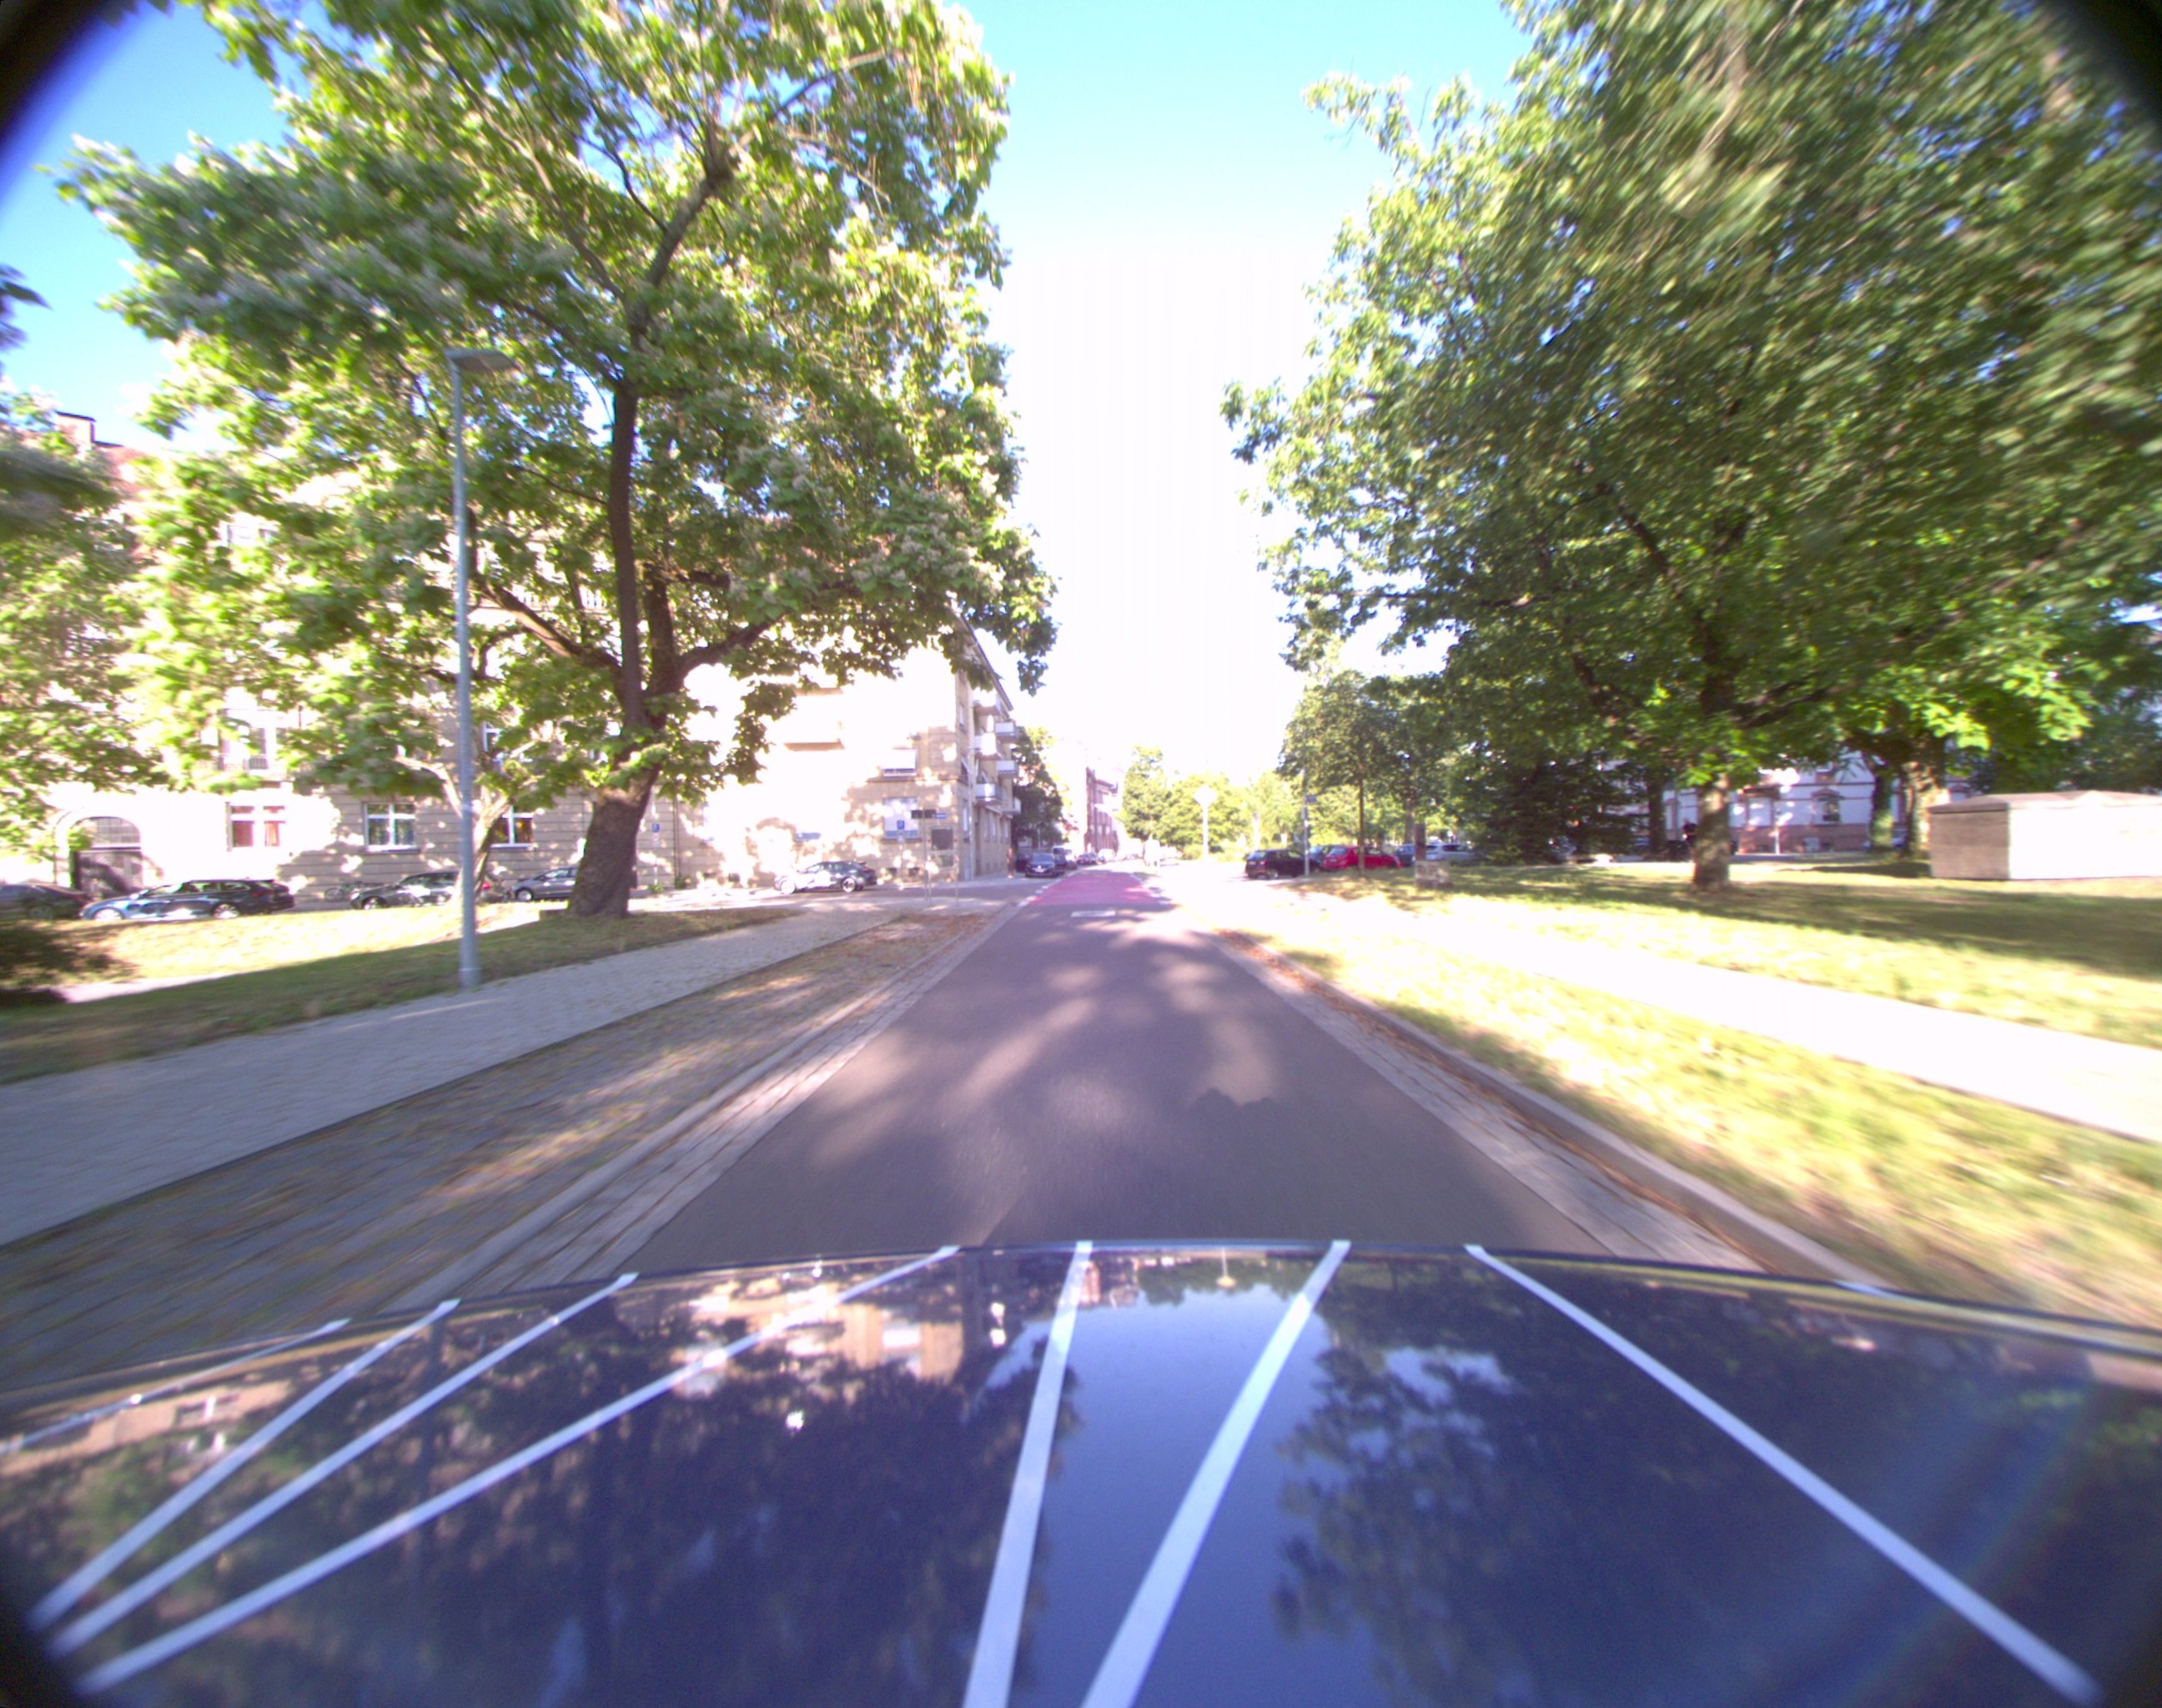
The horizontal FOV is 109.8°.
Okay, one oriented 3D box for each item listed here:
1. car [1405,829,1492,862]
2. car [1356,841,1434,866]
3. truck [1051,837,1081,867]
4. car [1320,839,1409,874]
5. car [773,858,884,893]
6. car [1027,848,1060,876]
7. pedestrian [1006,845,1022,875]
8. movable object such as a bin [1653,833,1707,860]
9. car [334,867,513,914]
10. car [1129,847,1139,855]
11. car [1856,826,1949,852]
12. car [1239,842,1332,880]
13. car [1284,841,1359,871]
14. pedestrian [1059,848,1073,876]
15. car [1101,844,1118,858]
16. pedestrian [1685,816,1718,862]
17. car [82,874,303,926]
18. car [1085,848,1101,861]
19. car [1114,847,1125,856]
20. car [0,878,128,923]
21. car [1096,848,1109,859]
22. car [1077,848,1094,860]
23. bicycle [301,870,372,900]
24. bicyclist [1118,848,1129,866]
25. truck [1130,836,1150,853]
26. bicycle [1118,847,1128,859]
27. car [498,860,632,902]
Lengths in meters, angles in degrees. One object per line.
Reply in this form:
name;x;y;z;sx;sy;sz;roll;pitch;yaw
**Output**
car;19.280;-0.457;39.886;4.003;1.565;1.887;-2;3;-20
car;19.109;-0.069;46.262;4.281;1.392;1.836;-2;1;-21
truck;-1.271;-0.211;68.760;2.133;2.549;6.877;-1;1;3
car;14.227;0.086;38.092;4.004;1.565;1.886;-3;3;-24
car;-11.551;0.950;34.966;4.452;1.411;1.934;-1;1;-4
car;-2.257;0.482;46.759;1.707;1.616;4.349;1;0;1
pedestrian;-4.179;0.379;47.667;0.733;1.820;0.555;-3;1;-35
movable object such as a bin;22.201;-0.280;28.183;1.334;0.984;0.948;-2;1;-12
car;-23.199;1.253;27.022;4.370;1.409;1.842;-2;1;-19
car;10.202;-0.659;147.053;1.582;1.499;3.848;-1;1;8
car;54.030;-1.033;50.027;3.997;1.565;1.890;-1;3;1
car;9.790;0.301;36.417;4.004;1.565;1.886;-3;3;-24
car;14.029;0.088;44.325;3.851;1.622;1.836;-2;1;-23
pedestrian;-0.941;0.486;47.938;0.778;1.759;0.955;-2;1;2
car;4.511;-0.495;120.303;2.118;1.942;4.763;-1;1;8
pedestrian;23.183;-0.551;28.394;0.664;1.686;0.671;-3;1;-11
car;-28.882;1.453;24.894;4.443;1.409;1.563;-2;1;-22
car;1.531;0.070;97.621;1.610;1.608;3.952;-1;1;7
car;6.541;-0.419;129.347;1.582;1.499;3.848;-1;1;8
car;-38.233;1.706;27.258;4.657;1.409;1.815;-2;1;-30
car;3.021;-0.107;107.898;1.509;1.437;3.731;-1;1;7
car;0.567;0.047;91.932;1.610;1.349;3.549;-1;1;7
bicycle;-33.273;1.379;33.988;2.126;1.223;0.613;-2;2;-23
bicyclist;4.033;0.285;72.237;0.939;1.693;0.906;-2;1;7
truck;12.208;-1.962;156.538;3.017;3.423;7.629;-1;1;13
bicycle;4.025;-0.083;72.247;0.739;1.129;2.105;-2;1;8
car;-22.493;1.142;33.319;4.456;1.591;1.800;-2;1;-17
